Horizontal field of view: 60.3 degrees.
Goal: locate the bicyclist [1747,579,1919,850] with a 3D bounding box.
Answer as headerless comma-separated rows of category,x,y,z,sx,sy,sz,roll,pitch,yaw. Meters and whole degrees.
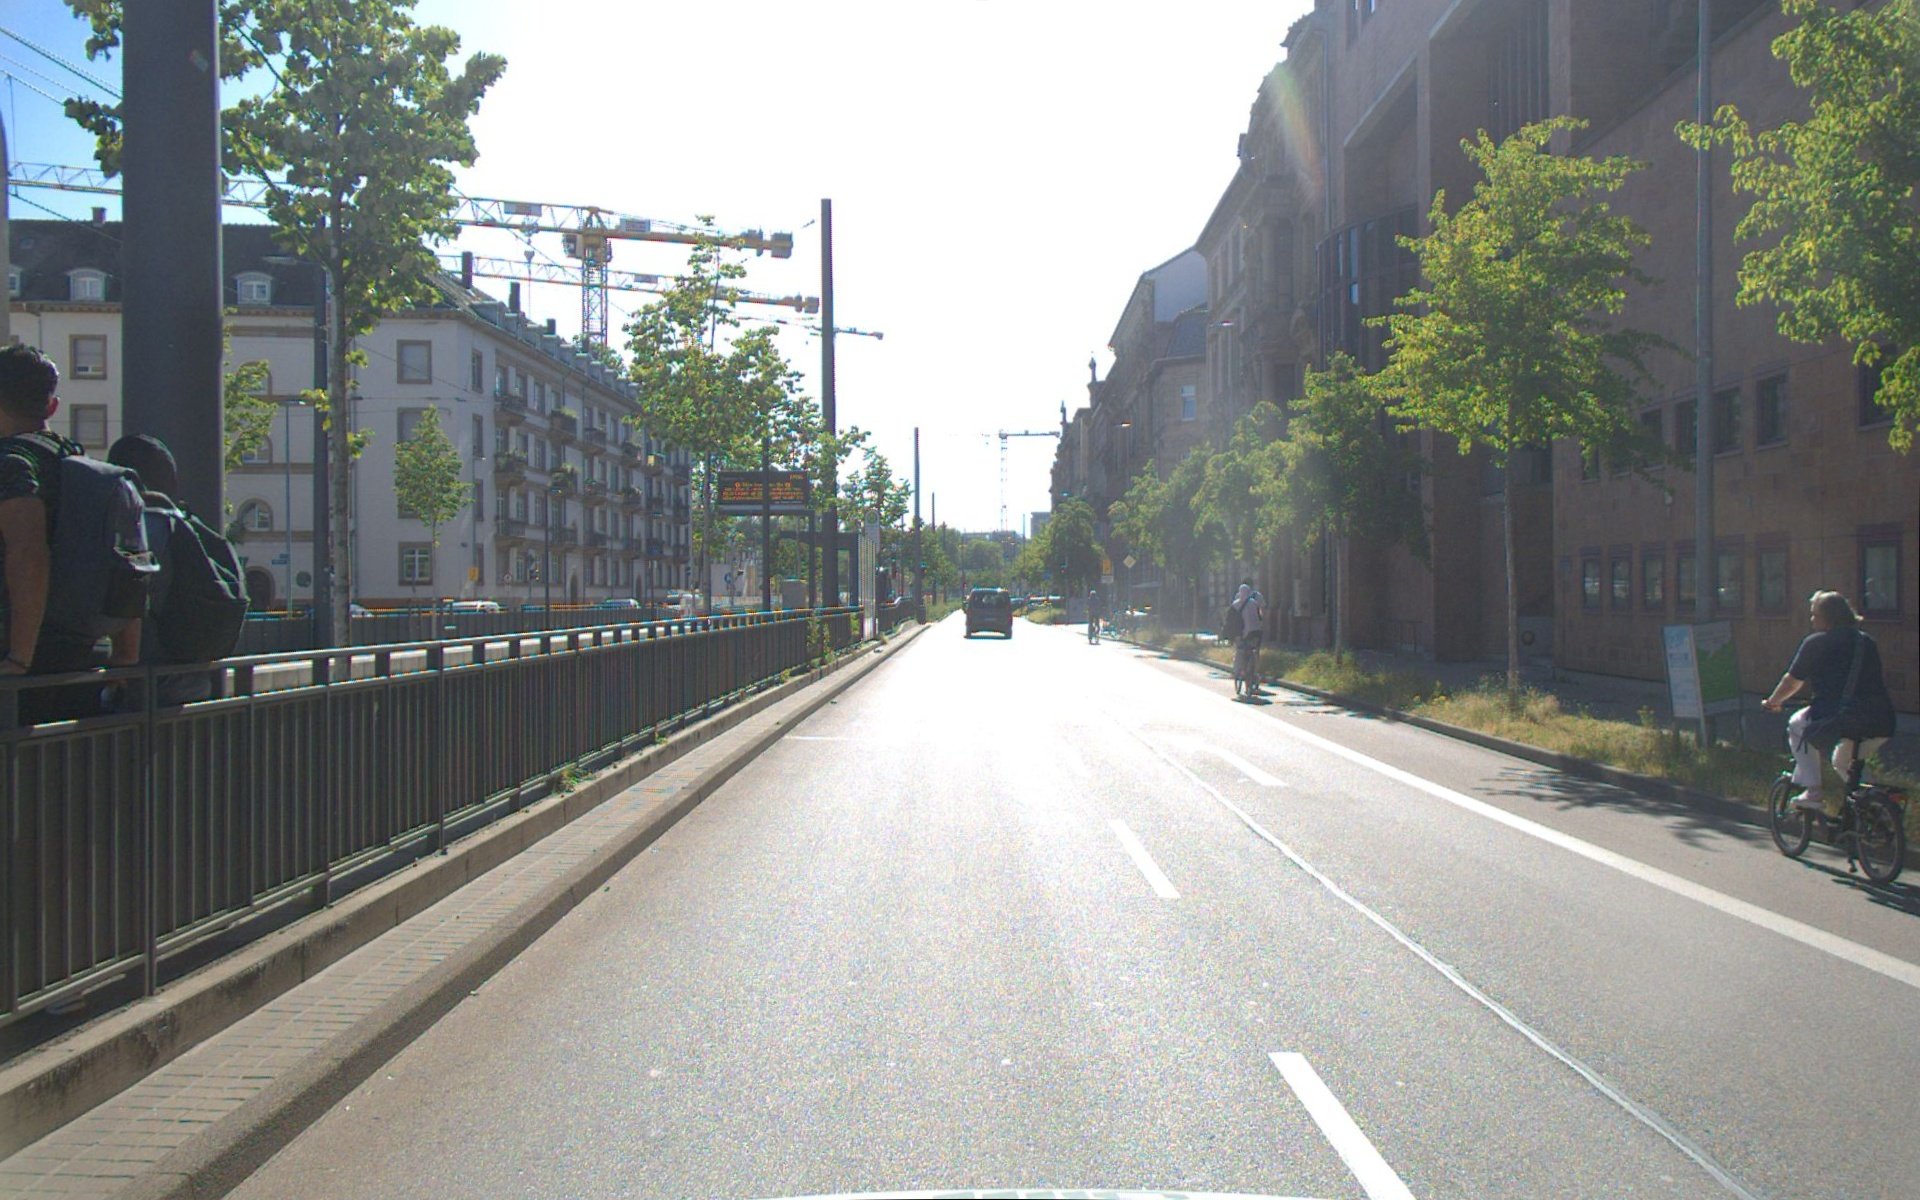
bicyclist,5.360,0.666,10.093,0.644,1.564,0.909,1,0,0

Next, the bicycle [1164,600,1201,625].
bicycle,11.047,0.604,82.170,1.779,1.191,0.655,-1,3,4

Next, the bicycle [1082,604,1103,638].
bicycle,4.747,0.741,59.383,0.589,1.201,1.869,1,0,0

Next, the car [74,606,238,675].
car,-18.547,0.913,38.358,1.840,1.490,3.999,1,-1,-1

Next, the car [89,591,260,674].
car,-23.919,0.925,50.667,1.951,2.411,5.650,0,0,8

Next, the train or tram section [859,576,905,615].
train or tram section,-5.813,-0.271,125.195,2.699,2.791,9.865,1,-1,2

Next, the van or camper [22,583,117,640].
van or camper,-39.638,0.491,73.795,1.958,2.443,5.941,-1,0,-11

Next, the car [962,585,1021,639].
car,1.175,0.446,63.296,2.155,1.960,4.654,-1,0,0

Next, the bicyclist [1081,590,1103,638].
bicyclist,4.753,0.499,59.430,0.670,1.702,0.922,1,0,0

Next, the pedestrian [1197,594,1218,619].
pedestrian,12.473,0.329,83.504,0.833,1.235,0.933,0,0,-7

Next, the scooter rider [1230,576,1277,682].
scooter rider,5.348,0.515,30.184,0.652,1.893,0.901,1,0,0

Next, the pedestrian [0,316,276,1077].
pedestrian,-2.400,0.245,4.535,0.730,1.917,0.715,-1,0,-1

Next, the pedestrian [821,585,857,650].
pedestrian,-2.981,0.426,40.876,0.796,1.563,0.798,0,0,2

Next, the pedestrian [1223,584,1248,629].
pedestrian,9.742,0.220,58.503,0.694,1.569,0.927,-1,0,0

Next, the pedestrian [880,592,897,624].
pedestrian,-3.586,0.407,82.964,0.796,1.563,0.798,0,0,2

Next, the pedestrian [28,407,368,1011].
pedestrian,-2.385,0.322,5.257,0.730,1.779,0.715,-1,0,-1

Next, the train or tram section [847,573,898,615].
train or tram section,-6.020,-0.368,115.349,2.699,2.791,9.865,1,-1,2

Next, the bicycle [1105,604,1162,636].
bicycle,6.660,0.756,63.576,1.958,1.111,0.845,-3,0,-10

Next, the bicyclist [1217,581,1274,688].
bicyclist,4.731,0.560,27.429,0.763,1.741,0.868,1,0,0

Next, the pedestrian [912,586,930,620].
pedestrian,-2.093,0.139,88.627,0.848,1.819,0.969,0,0,-6

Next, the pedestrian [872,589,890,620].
pedestrian,-4.015,0.235,84.036,0.847,1.563,0.909,0,0,0

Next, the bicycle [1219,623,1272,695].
bicycle,4.706,0.954,27.327,0.546,1.111,1.792,1,0,0

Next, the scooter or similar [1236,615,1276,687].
scooter or similar,5.399,0.920,30.206,0.480,1.248,1.170,1,0,0

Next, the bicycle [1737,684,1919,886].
bicycle,5.360,1.081,10.043,0.546,1.045,1.507,1,0,0

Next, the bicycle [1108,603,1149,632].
bicycle,6.733,0.715,66.260,1.566,1.063,0.607,-3,0,4

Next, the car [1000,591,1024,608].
car,4.756,-0.057,151.660,1.986,1.525,4.654,-1,0,0

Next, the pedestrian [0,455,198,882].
pedestrian,-3.846,0.284,7.203,0.694,1.753,0.752,-1,0,-1

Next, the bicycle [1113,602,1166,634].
bicycle,7.056,0.713,64.948,1.954,1.148,0.710,-3,0,1

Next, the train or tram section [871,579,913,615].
train or tram section,-5.520,-0.171,135.052,2.699,2.791,9.865,1,-1,2

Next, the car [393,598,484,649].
car,-18.580,0.825,59.124,1.952,1.713,4.000,1,-1,0
